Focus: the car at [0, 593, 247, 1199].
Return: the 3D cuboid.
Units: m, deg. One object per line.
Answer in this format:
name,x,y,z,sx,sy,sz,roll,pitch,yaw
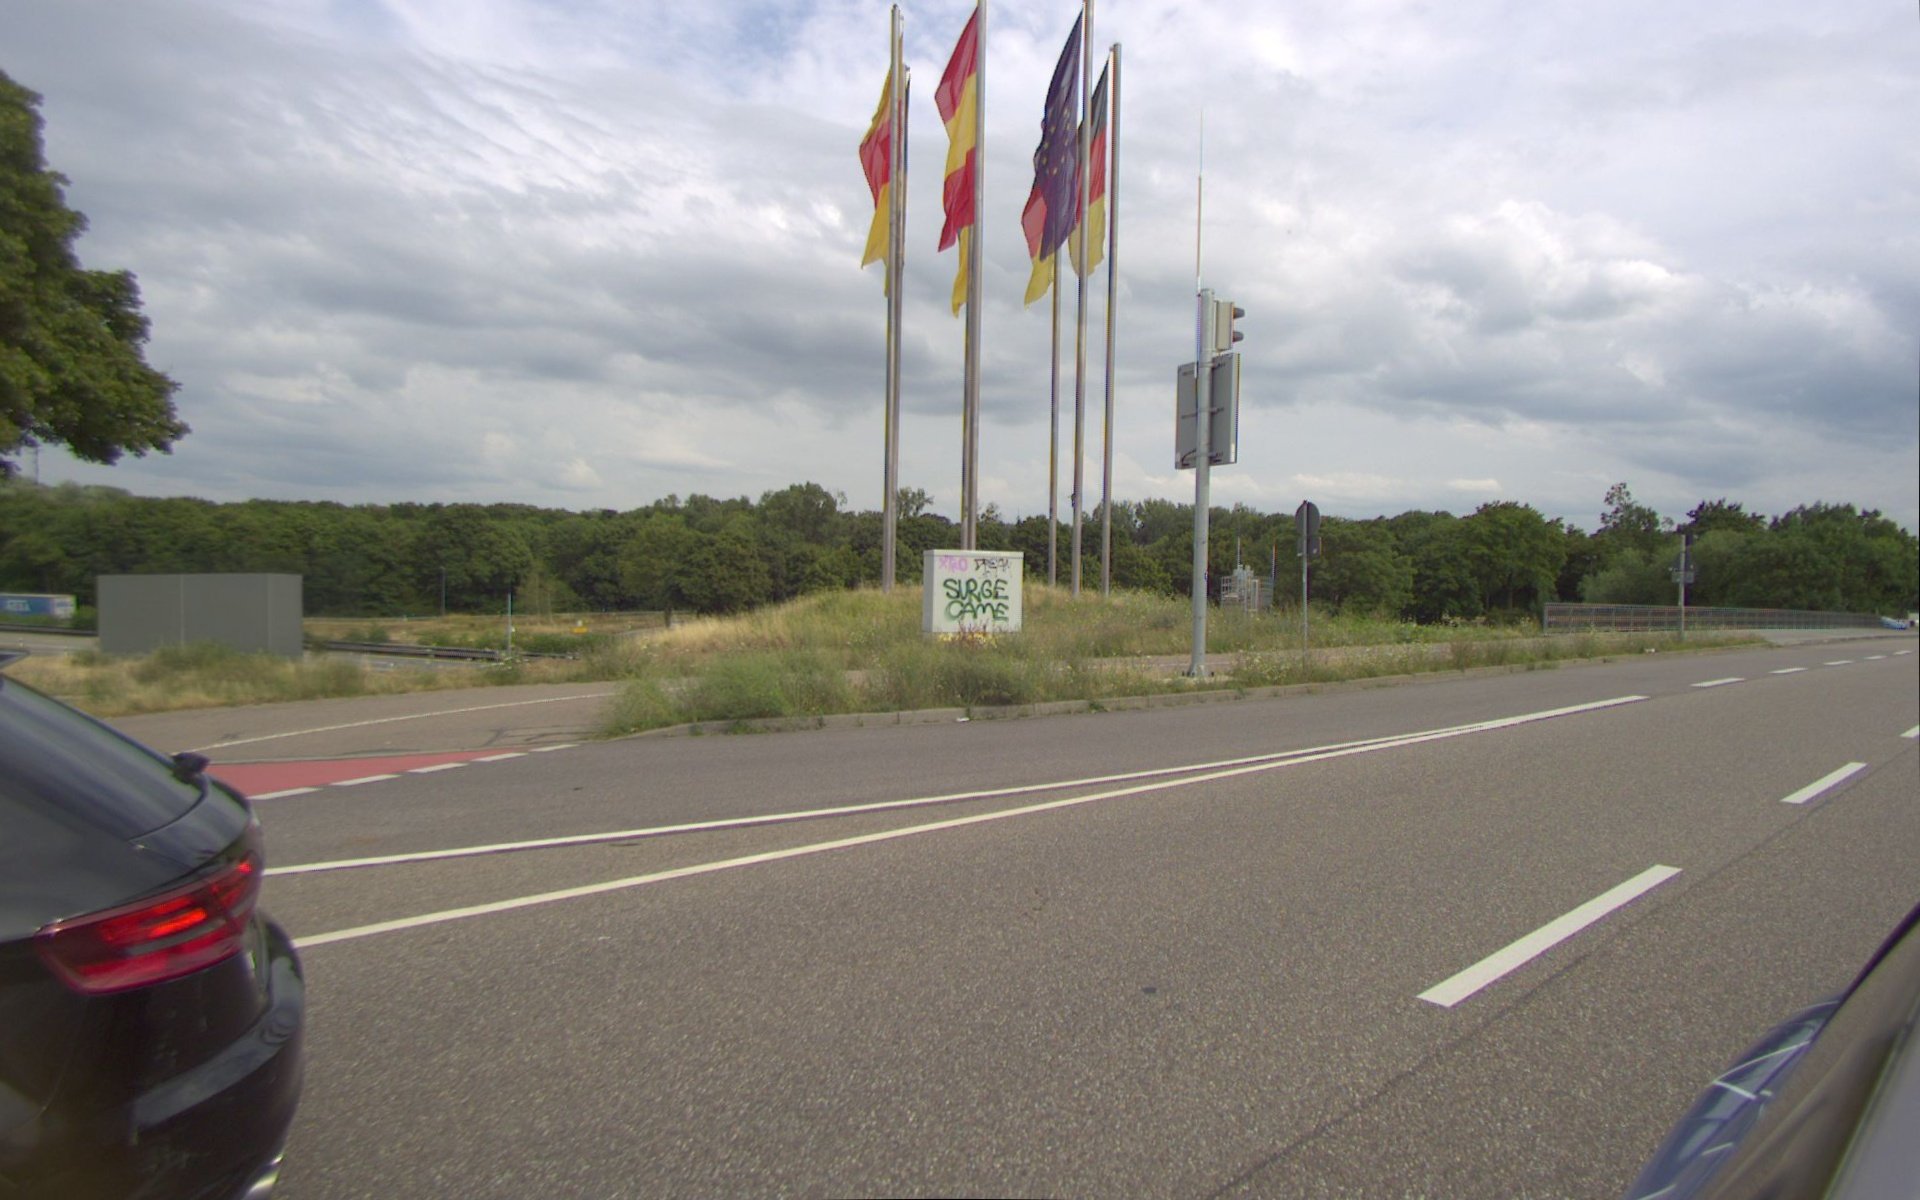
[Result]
car,-3.323,0.699,1.077,4.043,1.412,1.733,0,1,-41
